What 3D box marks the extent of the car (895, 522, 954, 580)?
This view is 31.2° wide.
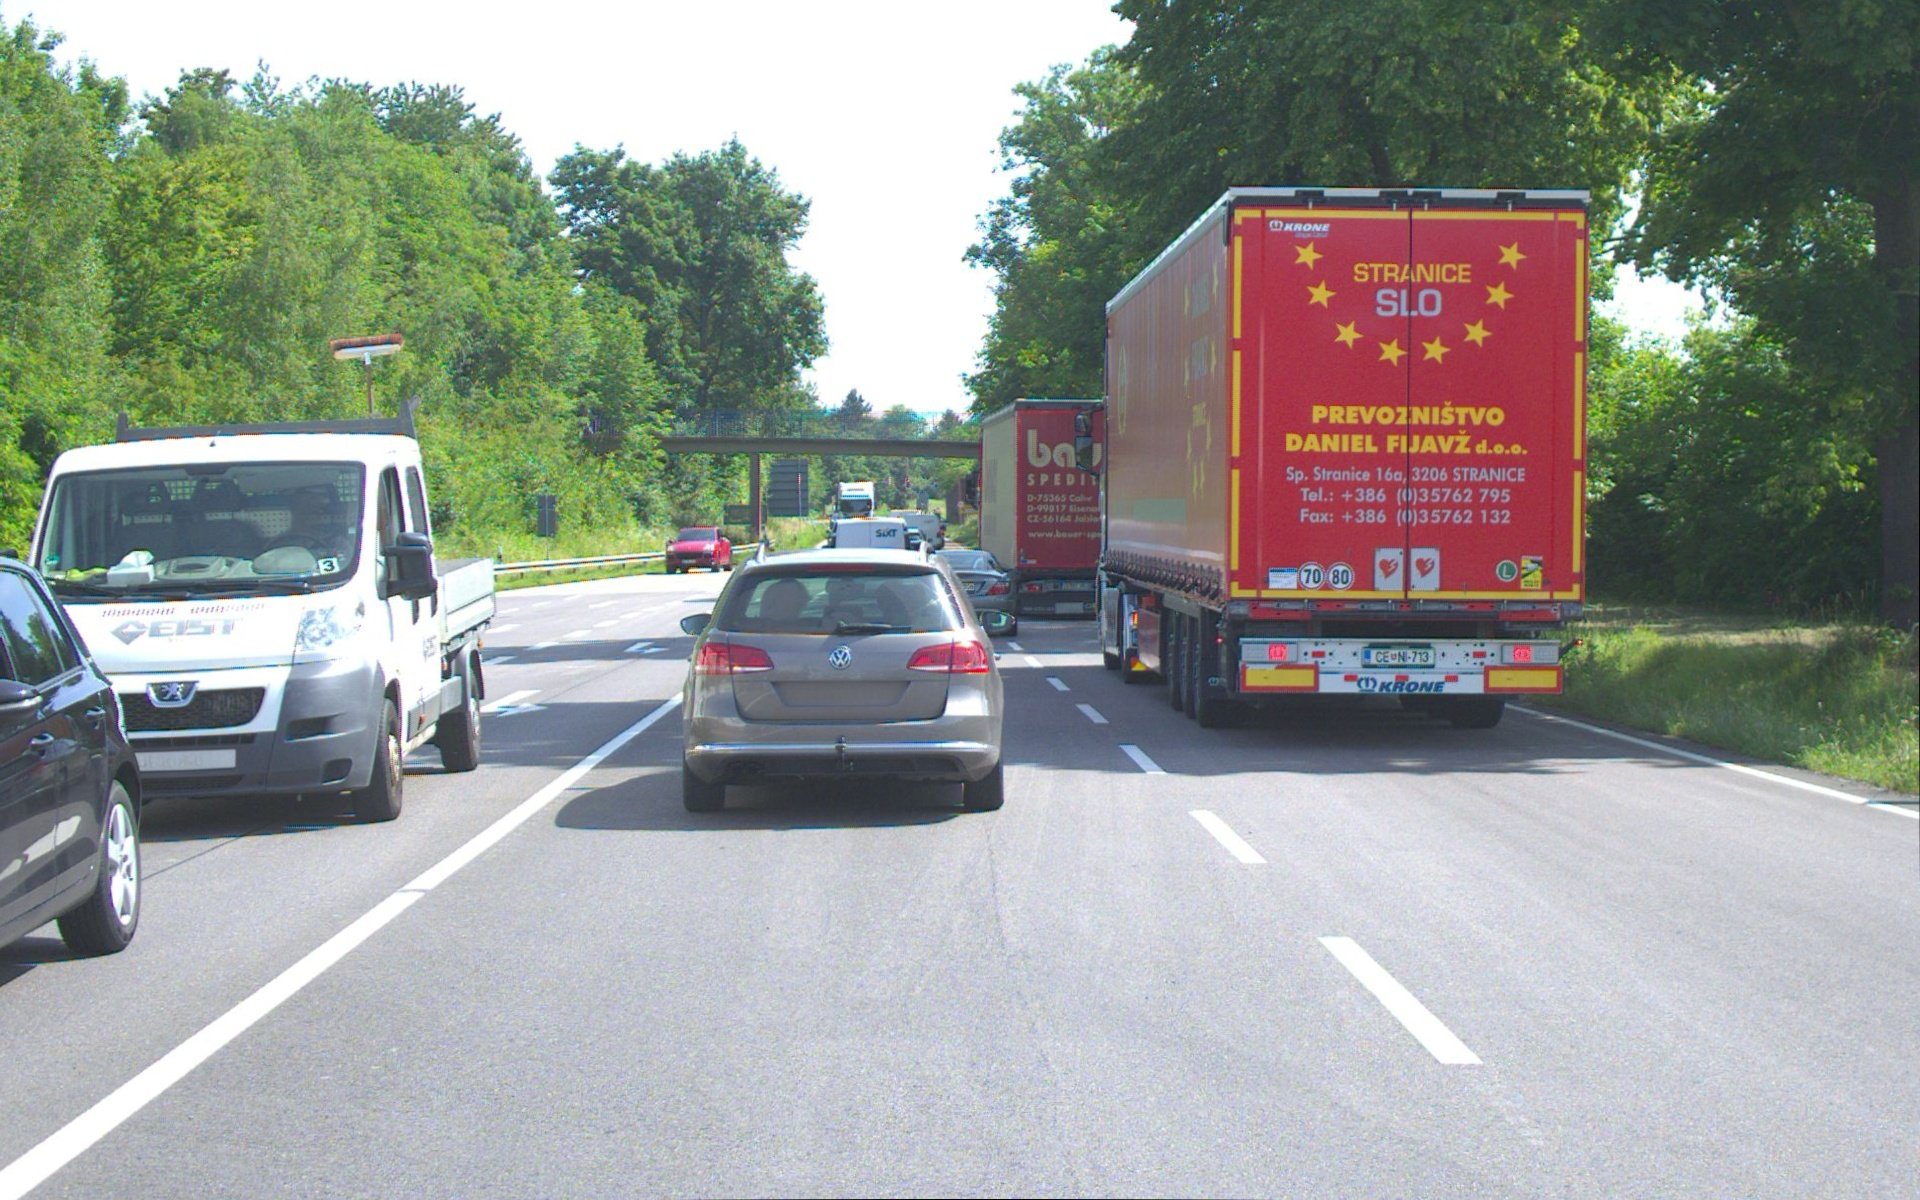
[{"bbox_3d":[-1.290,-1.769,123.677,1.993,2.007,4.000,-2,1,-1],"label":"car"}]

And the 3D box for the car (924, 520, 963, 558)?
[{"bbox_3d":[-0.935,-3.360,189.233,1.993,2.007,4.000,-2,1,-1],"label":"car"}]

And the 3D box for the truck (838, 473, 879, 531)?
[{"bbox_3d":[-7.325,-6.990,246.745,2.773,3.917,9.468,-1,1,-2],"label":"truck"}]

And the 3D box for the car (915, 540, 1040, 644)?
[{"bbox_3d":[0.241,-0.144,53.308,1.770,1.508,4.000,-2,1,-2],"label":"car"}]

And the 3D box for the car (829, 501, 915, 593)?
[{"bbox_3d":[-1.937,-1.159,75.503,1.770,1.930,3.978,-2,1,-2],"label":"car"}]

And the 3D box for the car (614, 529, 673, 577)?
[{"bbox_3d":[-12.436,-1.852,135.338,1.973,1.790,4.809,-2,1,-1],"label":"car"}]

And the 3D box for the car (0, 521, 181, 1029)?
[{"bbox_3d":[-3.805,0.548,11.029,1.710,1.546,4.109,-2,1,-1],"label":"car"}]

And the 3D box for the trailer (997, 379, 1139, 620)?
[{"bbox_3d":[1.997,-1.878,67.687,2.395,4.229,13.078,-2,1,1],"label":"trailer"}]

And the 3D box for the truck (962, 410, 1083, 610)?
[{"bbox_3d":[1.342,-1.923,74.626,2.406,4.113,5.521,-2,1,1],"label":"truck"}]

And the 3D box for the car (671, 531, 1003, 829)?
[{"bbox_3d":[-0.695,0.392,19.960,1.691,1.508,4.000,-2,1,-2],"label":"car"}]

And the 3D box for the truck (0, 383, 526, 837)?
[{"bbox_3d":[-4.139,0.013,20.768,2.227,2.260,6.500,-2,1,-1],"label":"truck"}]

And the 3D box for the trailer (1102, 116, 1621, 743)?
[{"bbox_3d":[3.070,-1.274,30.551,2.839,4.350,13.168,0,1,-1],"label":"trailer"}]

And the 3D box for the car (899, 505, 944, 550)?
[{"bbox_3d":[-1.830,-3.387,161.707,1.993,2.007,4.000,-2,1,-1],"label":"car"}]

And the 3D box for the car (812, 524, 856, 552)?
[{"bbox_3d":[-6.644,-3.293,182.180,1.963,1.410,4.000,-1,1,3],"label":"car"}]

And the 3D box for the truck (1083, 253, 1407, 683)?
[{"bbox_3d":[2.944,-1.355,37.197,2.870,4.266,5.839,0,1,-1],"label":"truck"}]
